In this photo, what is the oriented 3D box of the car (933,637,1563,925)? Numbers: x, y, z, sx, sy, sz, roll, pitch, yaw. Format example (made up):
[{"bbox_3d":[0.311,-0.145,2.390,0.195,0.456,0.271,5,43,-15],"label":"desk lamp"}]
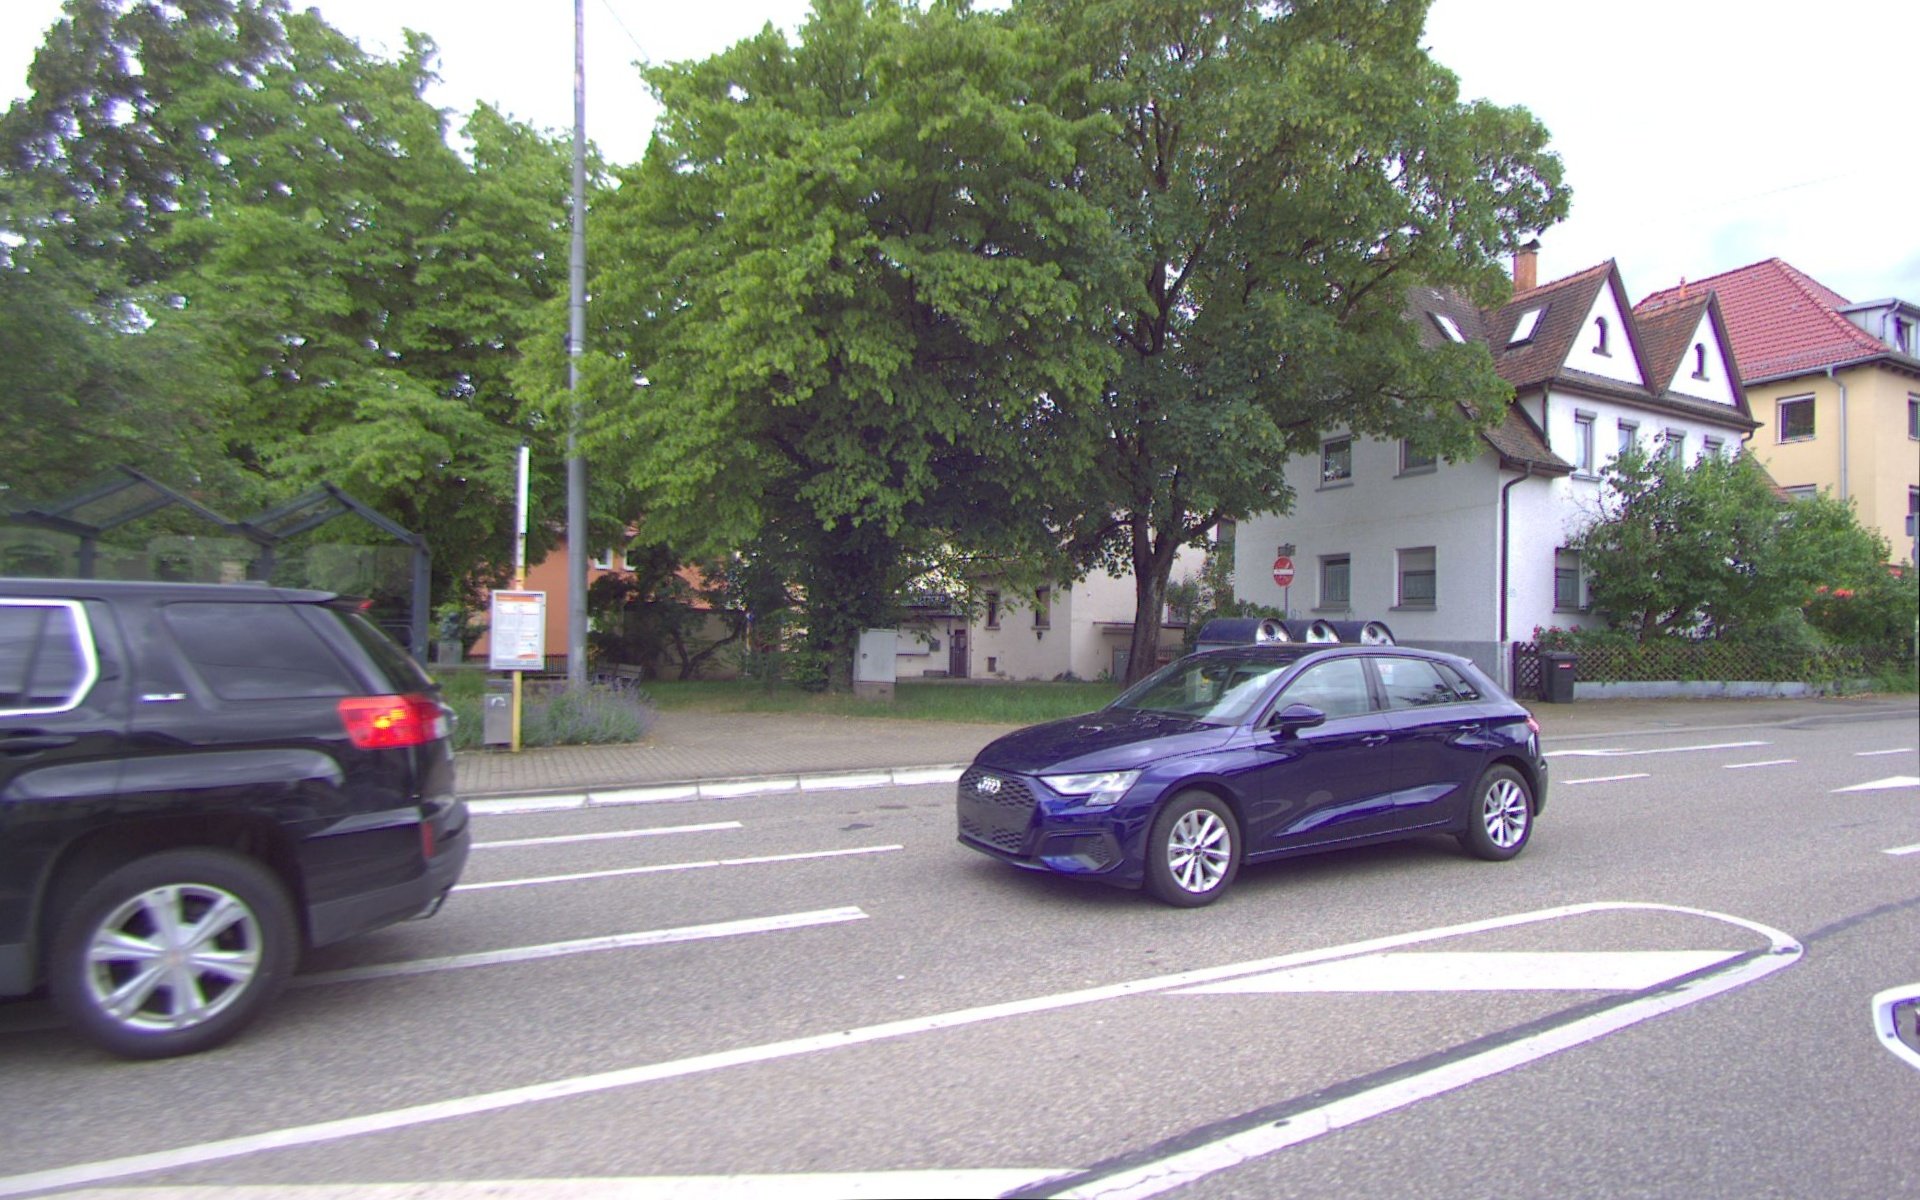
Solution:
[{"bbox_3d":[1.994,1.001,6.678,4.078,1.438,1.558,2,-3,-27],"label":"car"}]

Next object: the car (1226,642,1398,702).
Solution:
[{"bbox_3d":[8.654,1.797,25.050,1.700,1.349,3.974,2,-5,-27],"label":"car"}]

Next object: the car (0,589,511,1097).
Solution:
[{"bbox_3d":[-4.213,0.819,3.750,4.535,1.656,1.753,2,-4,-27],"label":"car"}]

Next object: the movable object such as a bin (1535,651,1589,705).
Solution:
[{"bbox_3d":[12.403,1.600,20.706,0.708,1.033,0.720,0,1,6],"label":"movable object such as a bin"}]
